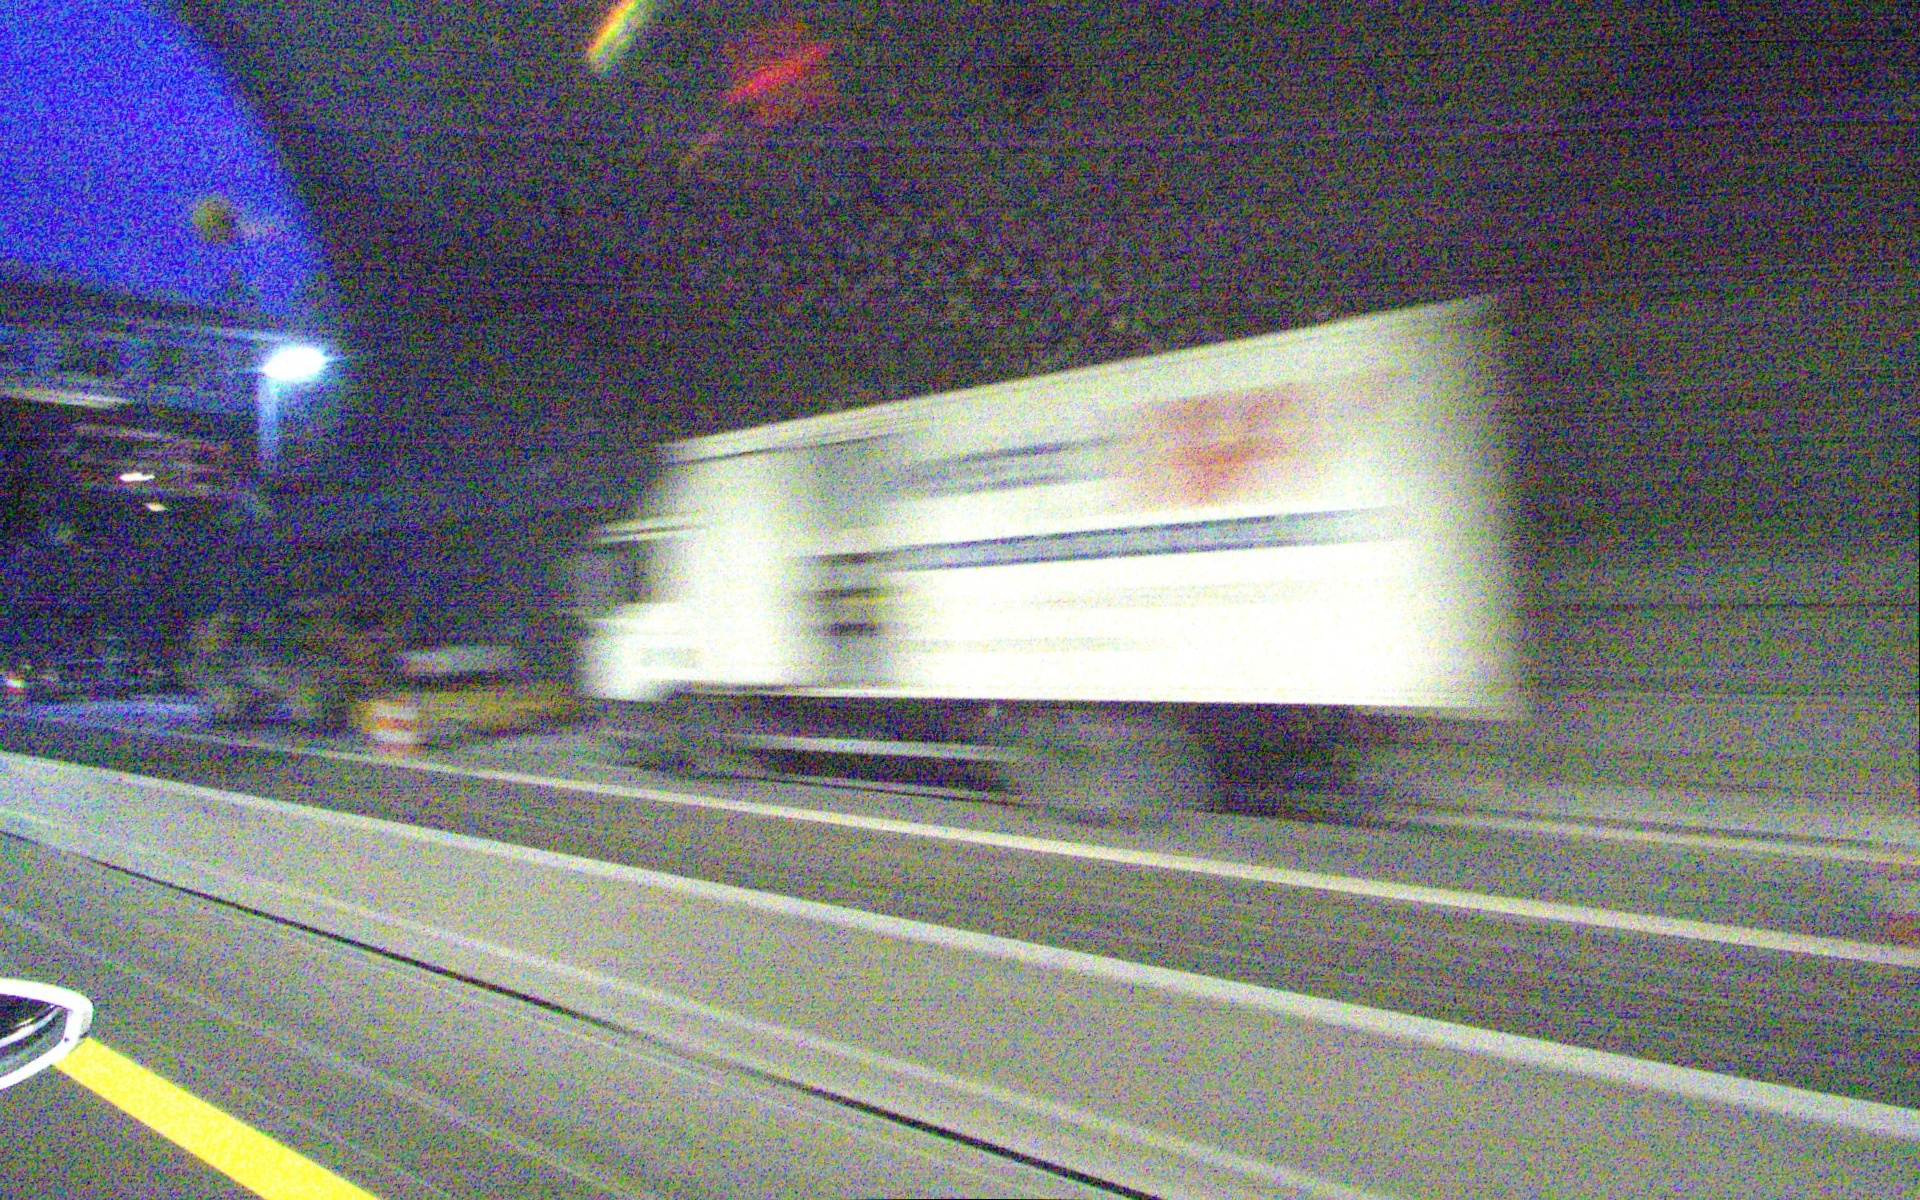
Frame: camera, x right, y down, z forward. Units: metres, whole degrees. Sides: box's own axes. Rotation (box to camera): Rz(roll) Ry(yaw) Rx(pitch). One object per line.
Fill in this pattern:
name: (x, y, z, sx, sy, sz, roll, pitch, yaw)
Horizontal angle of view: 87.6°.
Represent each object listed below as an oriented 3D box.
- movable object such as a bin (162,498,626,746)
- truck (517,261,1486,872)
movable object such as a bin: (-8.465, 0.368, 14.722, 7.094, 2.863, 2.965, -1, -2, 32)
truck: (-0.104, -0.064, 8.829, 8.232, 3.327, 2.814, -1, -2, 32)
